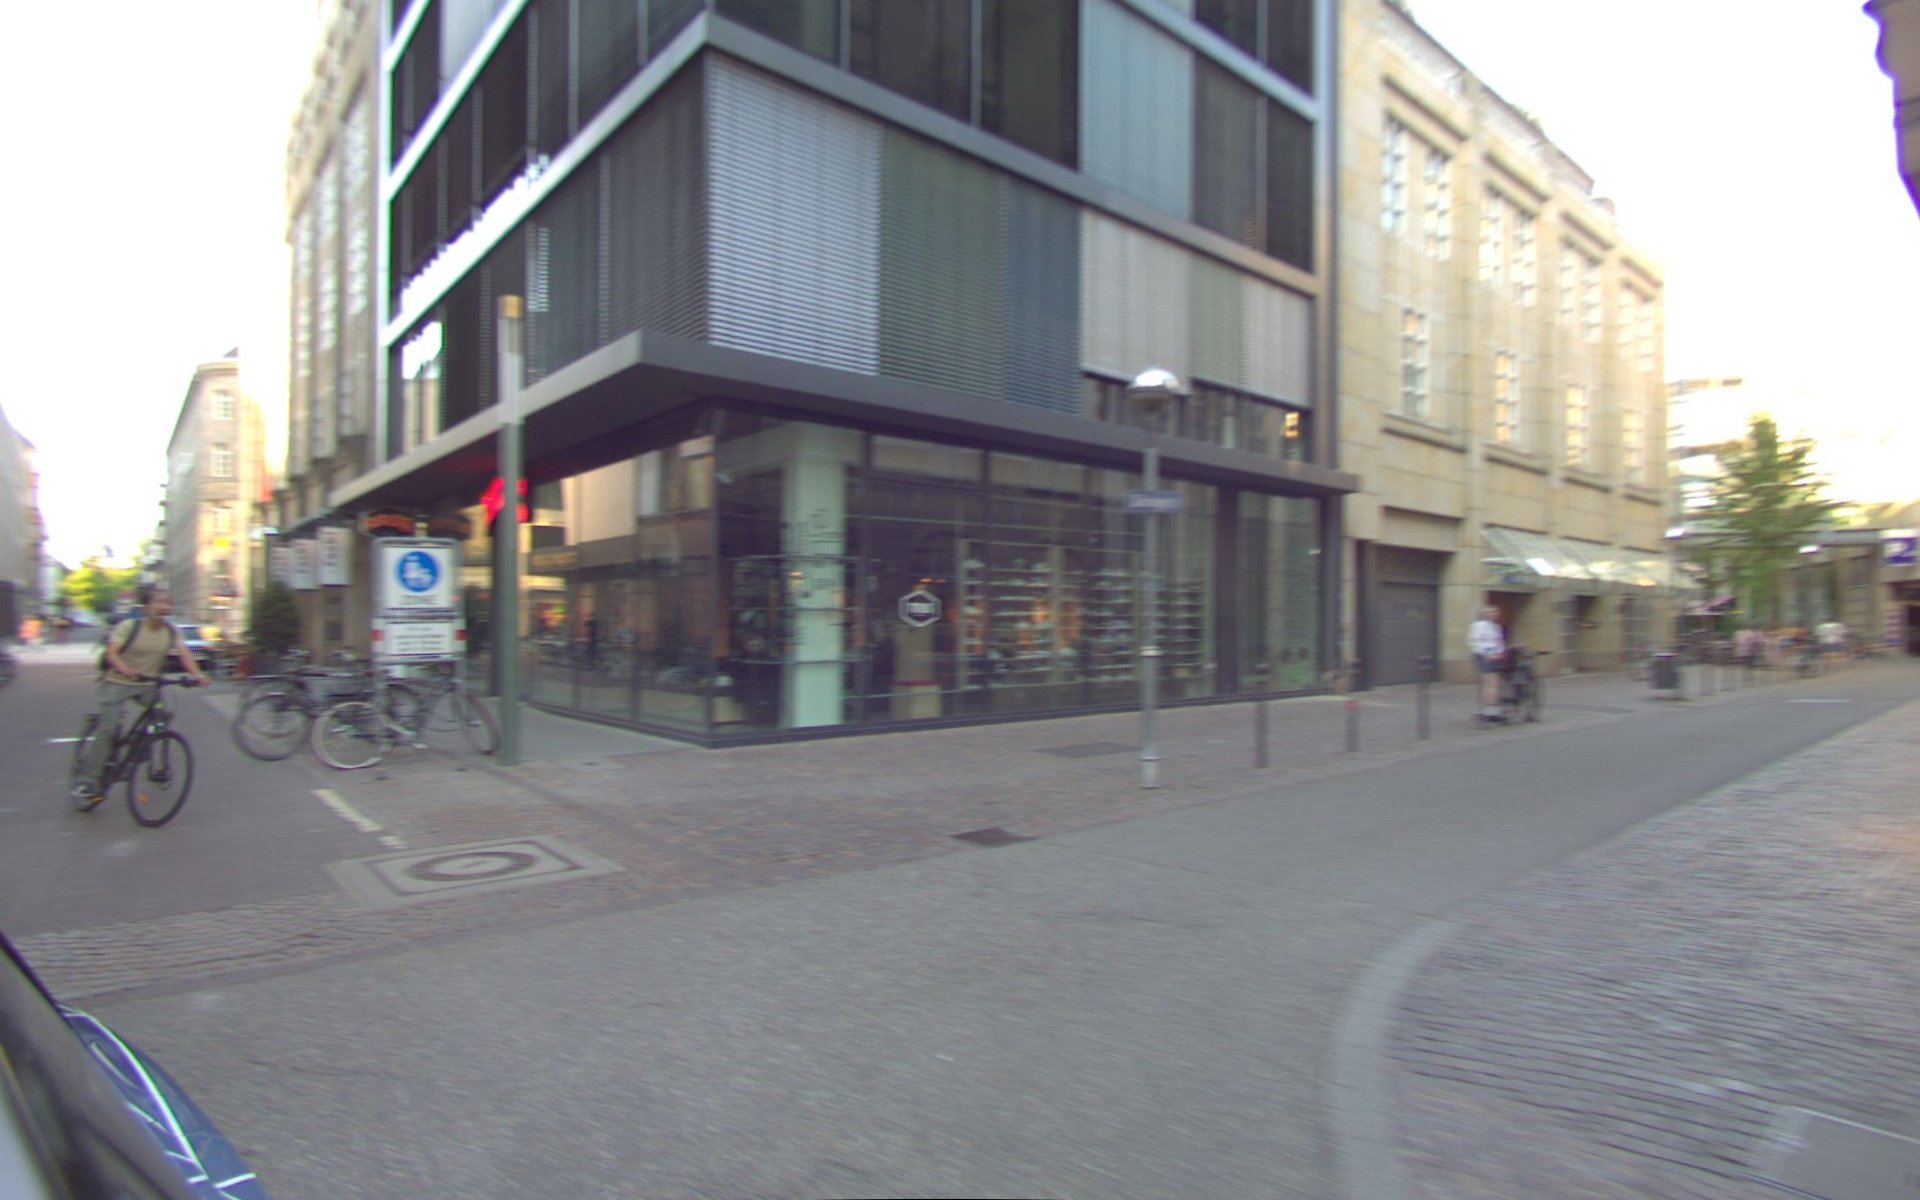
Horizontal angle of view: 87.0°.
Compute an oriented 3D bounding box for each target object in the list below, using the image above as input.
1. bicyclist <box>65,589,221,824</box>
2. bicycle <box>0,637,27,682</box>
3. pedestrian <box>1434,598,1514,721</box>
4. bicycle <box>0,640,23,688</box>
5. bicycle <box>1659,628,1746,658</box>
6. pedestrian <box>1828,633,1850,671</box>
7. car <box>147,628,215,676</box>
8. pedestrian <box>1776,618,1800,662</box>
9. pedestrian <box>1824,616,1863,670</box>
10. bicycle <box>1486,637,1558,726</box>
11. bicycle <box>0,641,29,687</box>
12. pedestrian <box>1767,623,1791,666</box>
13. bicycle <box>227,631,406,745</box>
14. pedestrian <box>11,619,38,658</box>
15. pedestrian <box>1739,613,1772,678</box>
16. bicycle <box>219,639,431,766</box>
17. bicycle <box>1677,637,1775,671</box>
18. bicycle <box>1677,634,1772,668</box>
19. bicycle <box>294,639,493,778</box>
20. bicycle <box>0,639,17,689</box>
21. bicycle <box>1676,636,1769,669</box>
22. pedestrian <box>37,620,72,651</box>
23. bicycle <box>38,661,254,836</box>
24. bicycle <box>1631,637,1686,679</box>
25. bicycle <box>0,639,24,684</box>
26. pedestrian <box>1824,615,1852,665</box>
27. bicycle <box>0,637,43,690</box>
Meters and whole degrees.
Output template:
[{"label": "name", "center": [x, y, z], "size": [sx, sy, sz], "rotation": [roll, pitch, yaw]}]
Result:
[{"label": "bicyclist", "center": [-6.267, 0.775, 7.769], "size": [0.866, 1.683, 0.669], "rotation": [-1, -2, 32]}, {"label": "bicycle", "center": [-26.794, 1.613, 27.539], "size": [2.008, 1.225, 0.620], "rotation": [2, -2, -42]}, {"label": "pedestrian", "center": [7.835, 0.893, 15.443], "size": [0.601, 1.804, 0.911], "rotation": [2, -2, -41]}, {"label": "bicycle", "center": [-24.365, 1.582, 24.811], "size": [2.008, 1.176, 0.620], "rotation": [2, -2, -42]}, {"label": "bicycle", "center": [30.014, 1.723, 40.949], "size": [2.756, 1.209, 0.726], "rotation": [-1, -2, 31]}, {"label": "pedestrian", "center": [28.204, 1.663, 32.464], "size": [0.513, 1.176, 0.468], "rotation": [2, -2, -40]}, {"label": "car", "center": [-24.381, 1.589, 31.763], "size": [1.578, 1.434, 3.612], "rotation": [1, -2, -36]}, {"label": "pedestrian", "center": [30.825, 1.476, 37.687], "size": [0.618, 1.616, 0.587], "rotation": [2, -2, -40]}, {"label": "pedestrian", "center": [29.531, 1.436, 33.830], "size": [0.786, 1.770, 0.868], "rotation": [2, -2, -40]}, {"label": "bicycle", "center": [8.367, 1.178, 15.032], "size": [1.800, 1.241, 0.413], "rotation": [2, -2, -44]}, {"label": "bicycle", "center": [-25.024, 1.628, 25.699], "size": [2.008, 1.176, 0.620], "rotation": [2, -2, -42]}, {"label": "pedestrian", "center": [31.113, 1.699, 38.449], "size": [0.655, 1.616, 0.593], "rotation": [2, -2, -40]}, {"label": "bicycle", "center": [-8.397, 1.104, 13.258], "size": [1.874, 1.279, 0.539], "rotation": [-3, 1, -40]}, {"label": "pedestrian", "center": [-40.242, 1.637, 43.523], "size": [0.668, 1.650, 0.755], "rotation": [0, -2, 41]}, {"label": "pedestrian", "center": [21.915, 1.242, 27.878], "size": [0.657, 1.778, 0.609], "rotation": [-1, -2, 36]}, {"label": "bicycle", "center": [-6.871, 1.069, 11.025], "size": [1.874, 1.190, 0.518], "rotation": [-2, -2, -42]}, {"label": "bicycle", "center": [27.734, 1.942, 36.714], "size": [2.756, 1.209, 0.726], "rotation": [-1, -2, 31]}, {"label": "bicycle", "center": [28.645, 1.892, 37.989], "size": [2.756, 1.209, 0.726], "rotation": [-1, -2, 31]}, {"label": "bicycle", "center": [-5.600, 1.025, 10.064], "size": [1.645, 1.213, 0.510], "rotation": [-1, -1, -41]}, {"label": "bicycle", "center": [-23.621, 1.486, 23.804], "size": [2.008, 1.176, 0.620], "rotation": [6, -5, -41]}, {"label": "bicycle", "center": [29.235, 2.012, 38.875], "size": [2.756, 1.209, 0.726], "rotation": [-1, -2, 31]}, {"label": "pedestrian", "center": [-46.997, 1.837, 52.531], "size": [0.908, 1.584, 0.992], "rotation": [0, -1, 3]}, {"label": "bicycle", "center": [-6.261, 1.065, 7.751], "size": [1.998, 1.137, 0.692], "rotation": [-1, -2, 33]}, {"label": "bicycle", "center": [19.028, 1.570, 27.543], "size": [2.205, 1.089, 0.483], "rotation": [1, -2, -35]}, {"label": "bicycle", "center": [-26.093, 1.637, 26.697], "size": [2.008, 1.176, 0.620], "rotation": [2, -2, -42]}, {"label": "pedestrian", "center": [31.331, 1.412, 36.121], "size": [0.786, 1.770, 0.633], "rotation": [2, -2, -40]}, {"label": "bicycle", "center": [-22.267, 1.431, 23.015], "size": [2.008, 1.176, 0.666], "rotation": [5, -5, -41]}]
